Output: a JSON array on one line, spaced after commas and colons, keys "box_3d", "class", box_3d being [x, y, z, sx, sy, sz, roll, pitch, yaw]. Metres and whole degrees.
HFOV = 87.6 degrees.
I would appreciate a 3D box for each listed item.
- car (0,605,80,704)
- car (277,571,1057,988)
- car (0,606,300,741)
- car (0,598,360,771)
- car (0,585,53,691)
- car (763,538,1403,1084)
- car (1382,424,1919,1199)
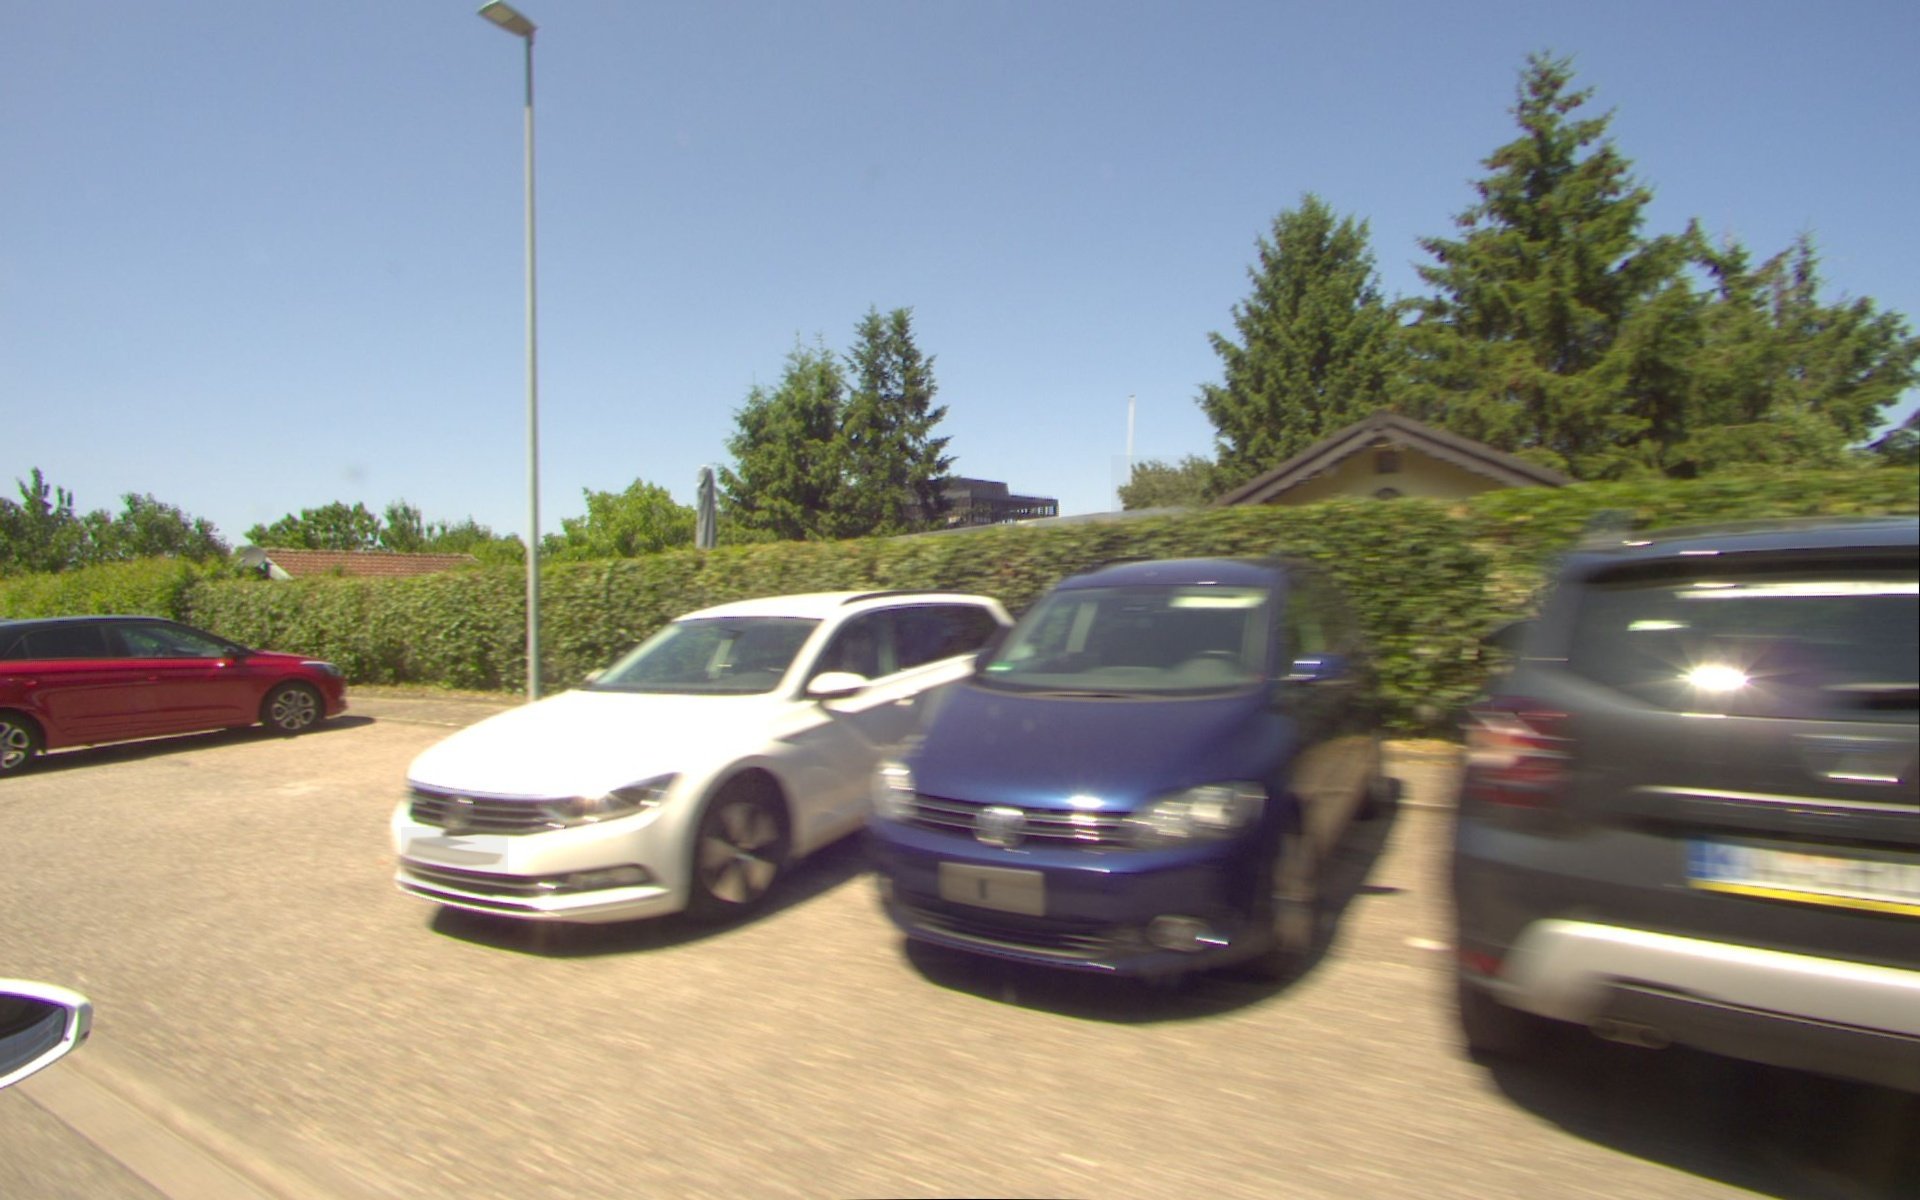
[{"box_3d": [-16.307, 0.930, 15.507, 1.813, 1.522, 3.570, -1, 2, 28], "class": "car"}, {"box_3d": [-1.191, 0.626, 6.156, 1.931, 1.459, 4.550, -1, 2, 28], "class": "car"}, {"box_3d": [-11.304, 0.887, 12.957, 1.814, 1.407, 4.192, -1, 2, 32], "class": "car"}, {"box_3d": [-9.170, 0.825, 11.071, 1.819, 1.499, 3.907, -1, 2, 33], "class": "car"}, {"box_3d": [-18.943, 0.775, 17.189, 1.968, 1.874, 4.606, 0, 2, 34], "class": "car"}, {"box_3d": [1.047, 0.533, 5.040, 1.732, 1.570, 4.040, -1, 2, 30], "class": "car"}, {"box_3d": [3.001, 0.421, 3.797, 1.828, 1.722, 4.244, 0, 2, 33], "class": "car"}]
